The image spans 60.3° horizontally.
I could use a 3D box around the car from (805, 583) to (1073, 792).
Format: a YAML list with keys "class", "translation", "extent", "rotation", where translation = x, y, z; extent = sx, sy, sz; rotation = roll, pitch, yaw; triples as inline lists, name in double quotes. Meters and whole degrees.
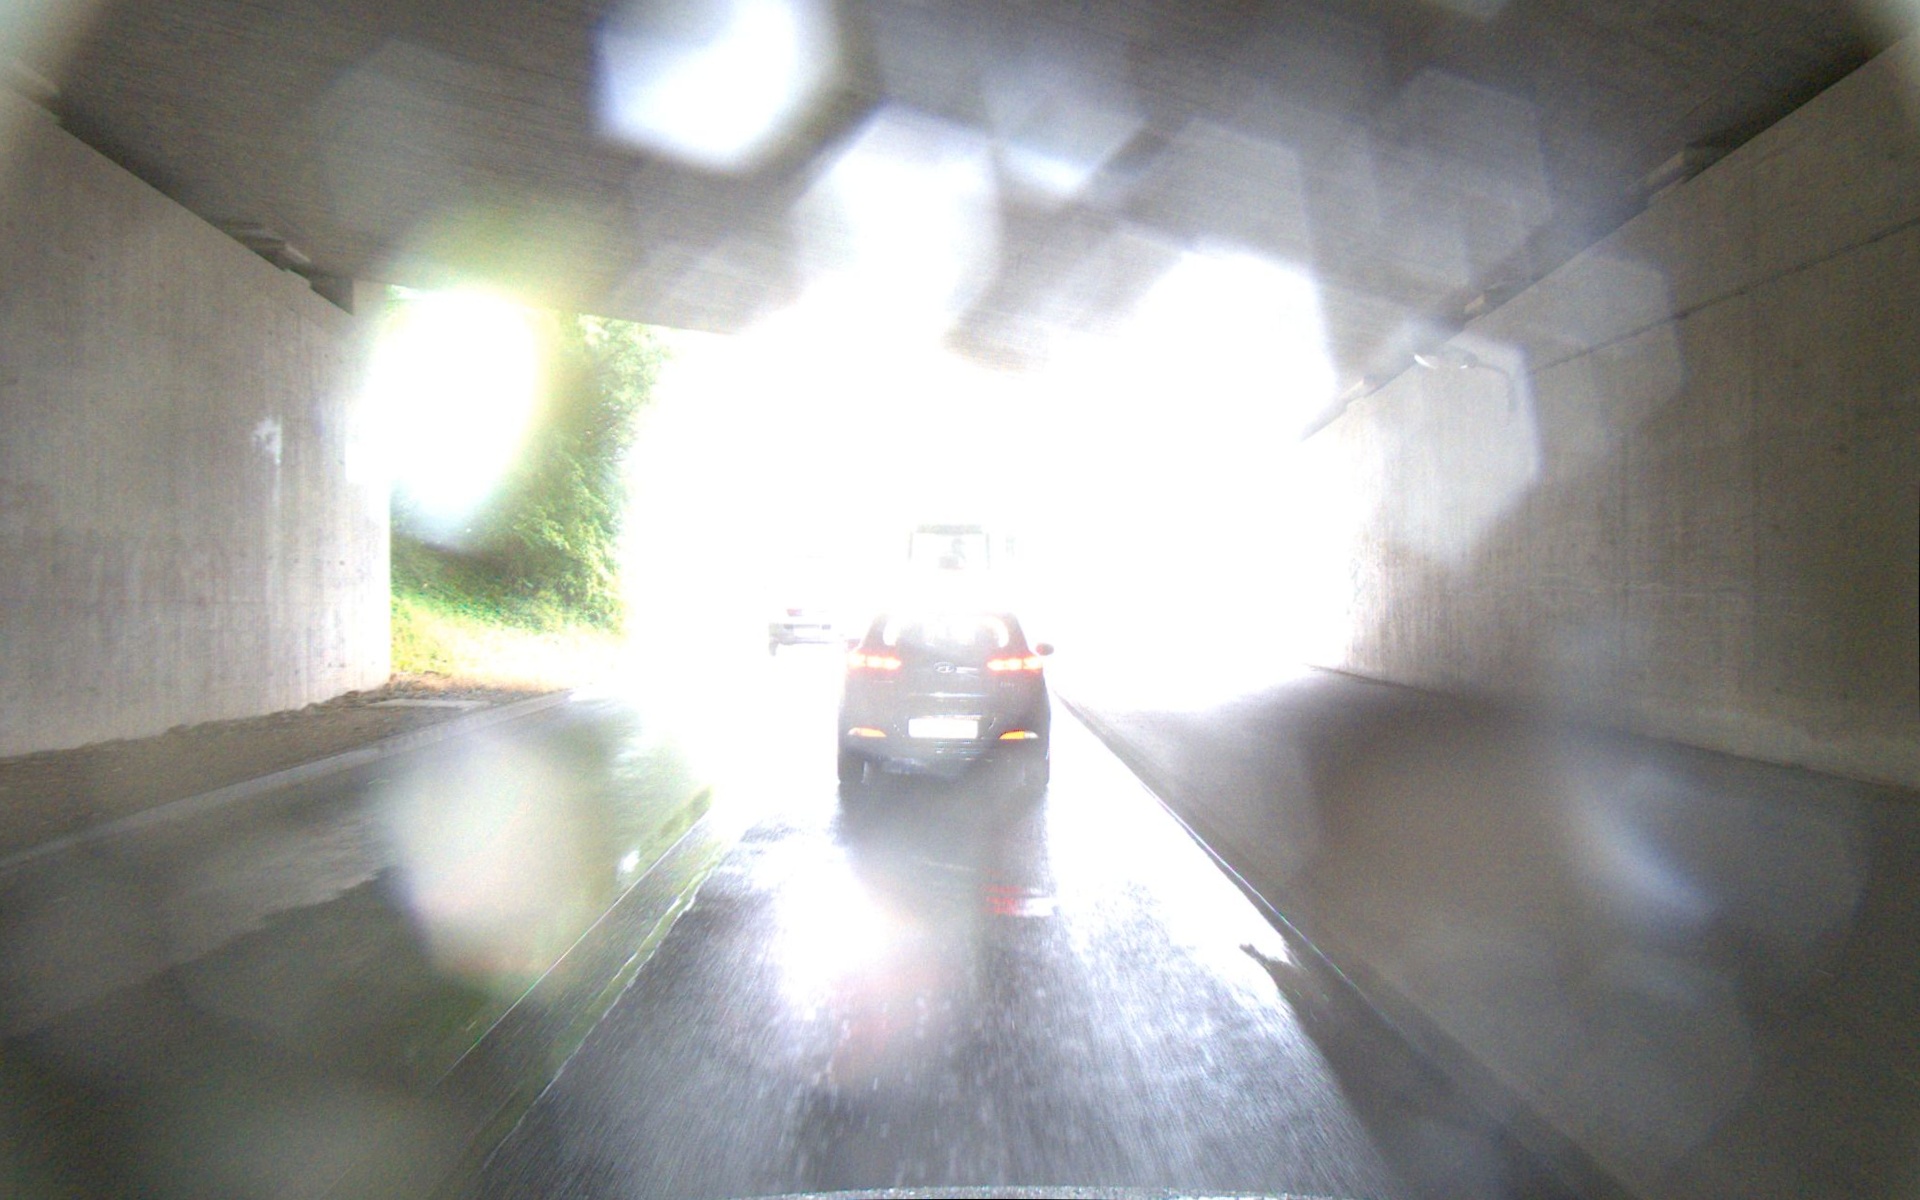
- class: "car"
  translation: [-0.291, 0.641, 14.285]
  extent: [1.954, 1.513, 3.997]
  rotation: [2, 0, -4]

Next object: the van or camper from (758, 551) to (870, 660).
- class: "van or camper"
  translation: [-3.073, 0.099, 35.786]
  extent: [1.953, 2.135, 4.691]
  rotation: [2, 0, 0]

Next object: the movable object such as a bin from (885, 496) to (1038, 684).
- class: "movable object such as a bin"
  translation: [-0.086, -0.168, 27.827]
  extent: [2.200, 2.716, 6.624]
  rotation: [2, 0, -2]
